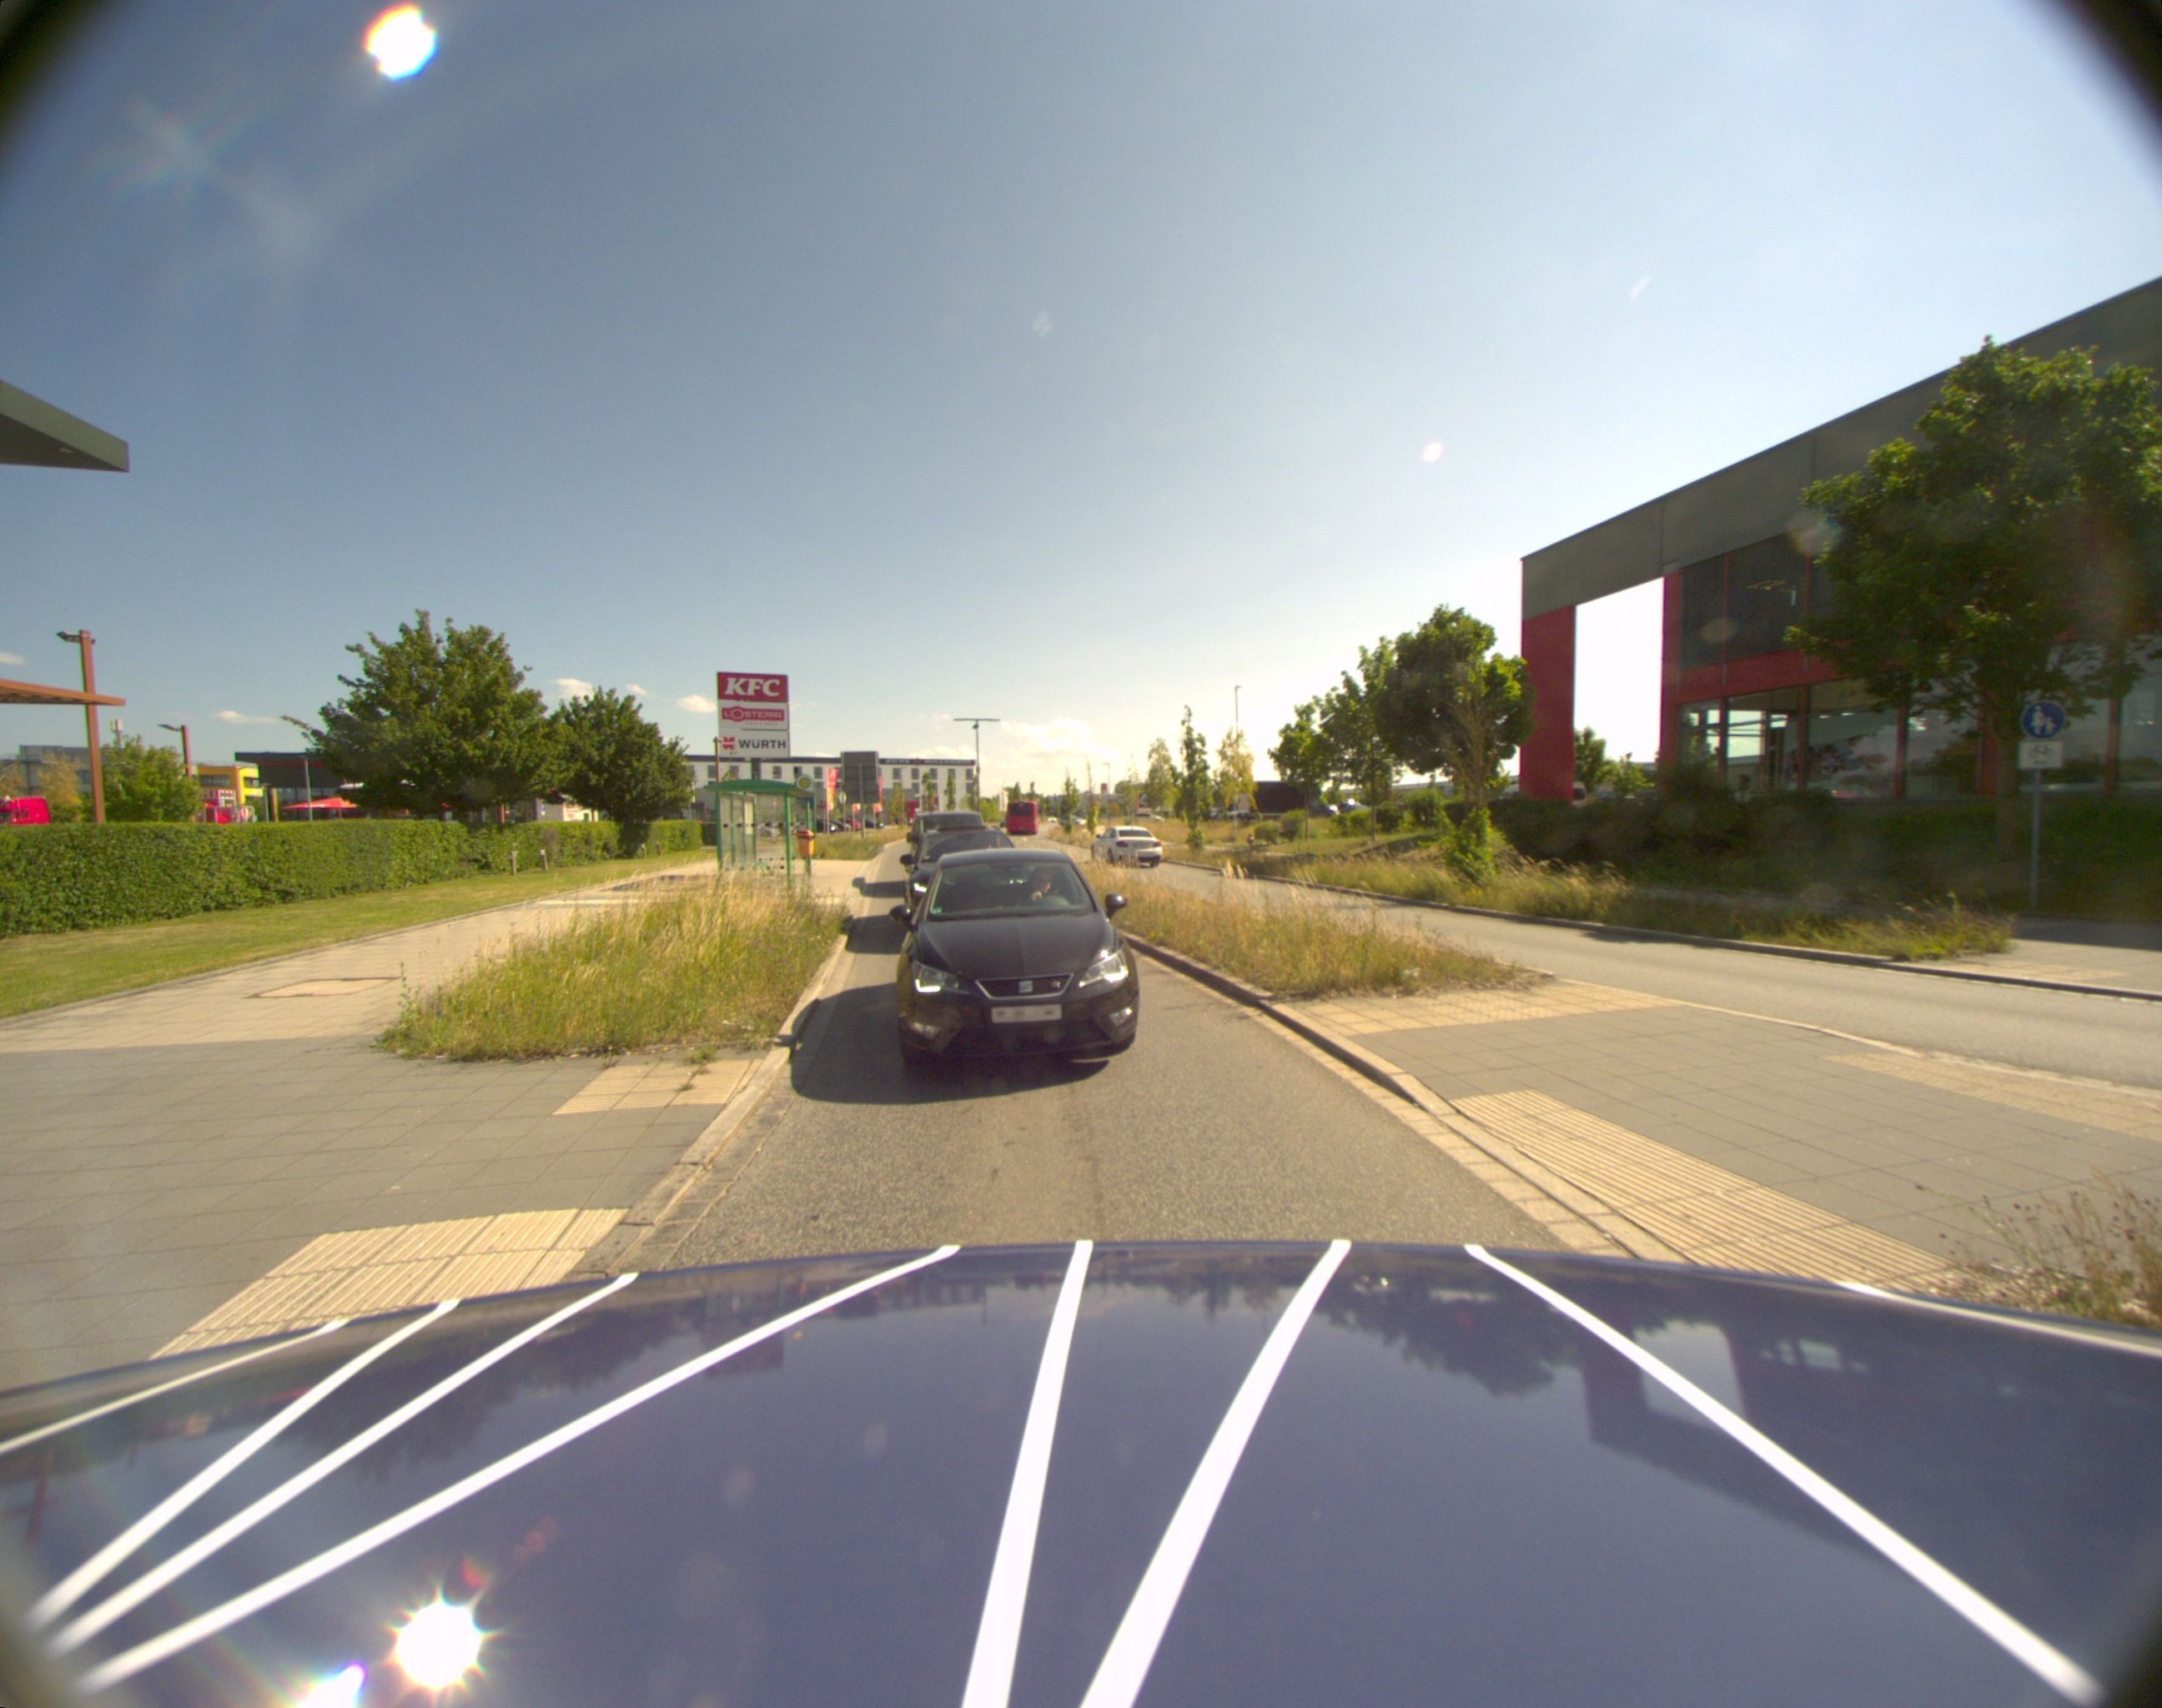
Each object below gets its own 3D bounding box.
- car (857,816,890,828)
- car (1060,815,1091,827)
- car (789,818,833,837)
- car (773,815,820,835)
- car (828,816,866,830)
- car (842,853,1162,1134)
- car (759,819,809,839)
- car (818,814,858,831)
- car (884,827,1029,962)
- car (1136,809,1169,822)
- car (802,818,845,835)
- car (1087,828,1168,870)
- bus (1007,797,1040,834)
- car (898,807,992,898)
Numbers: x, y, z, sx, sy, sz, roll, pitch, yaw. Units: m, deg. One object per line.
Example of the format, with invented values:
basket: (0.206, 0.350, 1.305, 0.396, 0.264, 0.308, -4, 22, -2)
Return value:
car: (-27.757, -4.265, 101.790, 3.822, 1.611, 1.756, -1, 3, 1)
car: (-0.750, -4.532, 104.455, 3.940, 1.667, 1.620, 0, 3, 10)
car: (-30.002, -2.974, 84.557, 4.183, 2.003, 1.932, -1, 3, 1)
car: (-30.121, -3.108, 80.665, 4.184, 2.003, 1.932, -1, 3, 1)
car: (-29.352, -3.886, 95.299, 4.182, 1.752, 1.823, -1, 3, 4)
car: (-0.697, 0.804, 6.469, 1.863, 1.460, 3.995, -1, 2, -8)
car: (-30.259, -2.585, 77.509, 4.183, 2.003, 1.932, -1, 3, 2)
car: (-29.390, -3.784, 92.014, 4.184, 2.003, 1.932, -1, 3, -1)
car: (-2.067, 0.478, 12.433, 1.863, 1.679, 3.994, -4, 4, -10)
car: (9.696, -5.198, 102.892, 4.276, 1.667, 1.619, 0, 3, 7)
car: (-29.410, -3.158, 86.915, 4.182, 1.847, 1.803, -1, 3, 5)
car: (1.609, -0.240, 28.106, 1.798, 1.408, 4.375, -1, 2, -13)
bus: (-5.509, -3.552, 71.057, 2.617, 3.224, 11.868, -1, 3, -6)
car: (-3.664, -0.167, 20.482, 2.081, 2.038, 4.675, -4, 4, -10)
